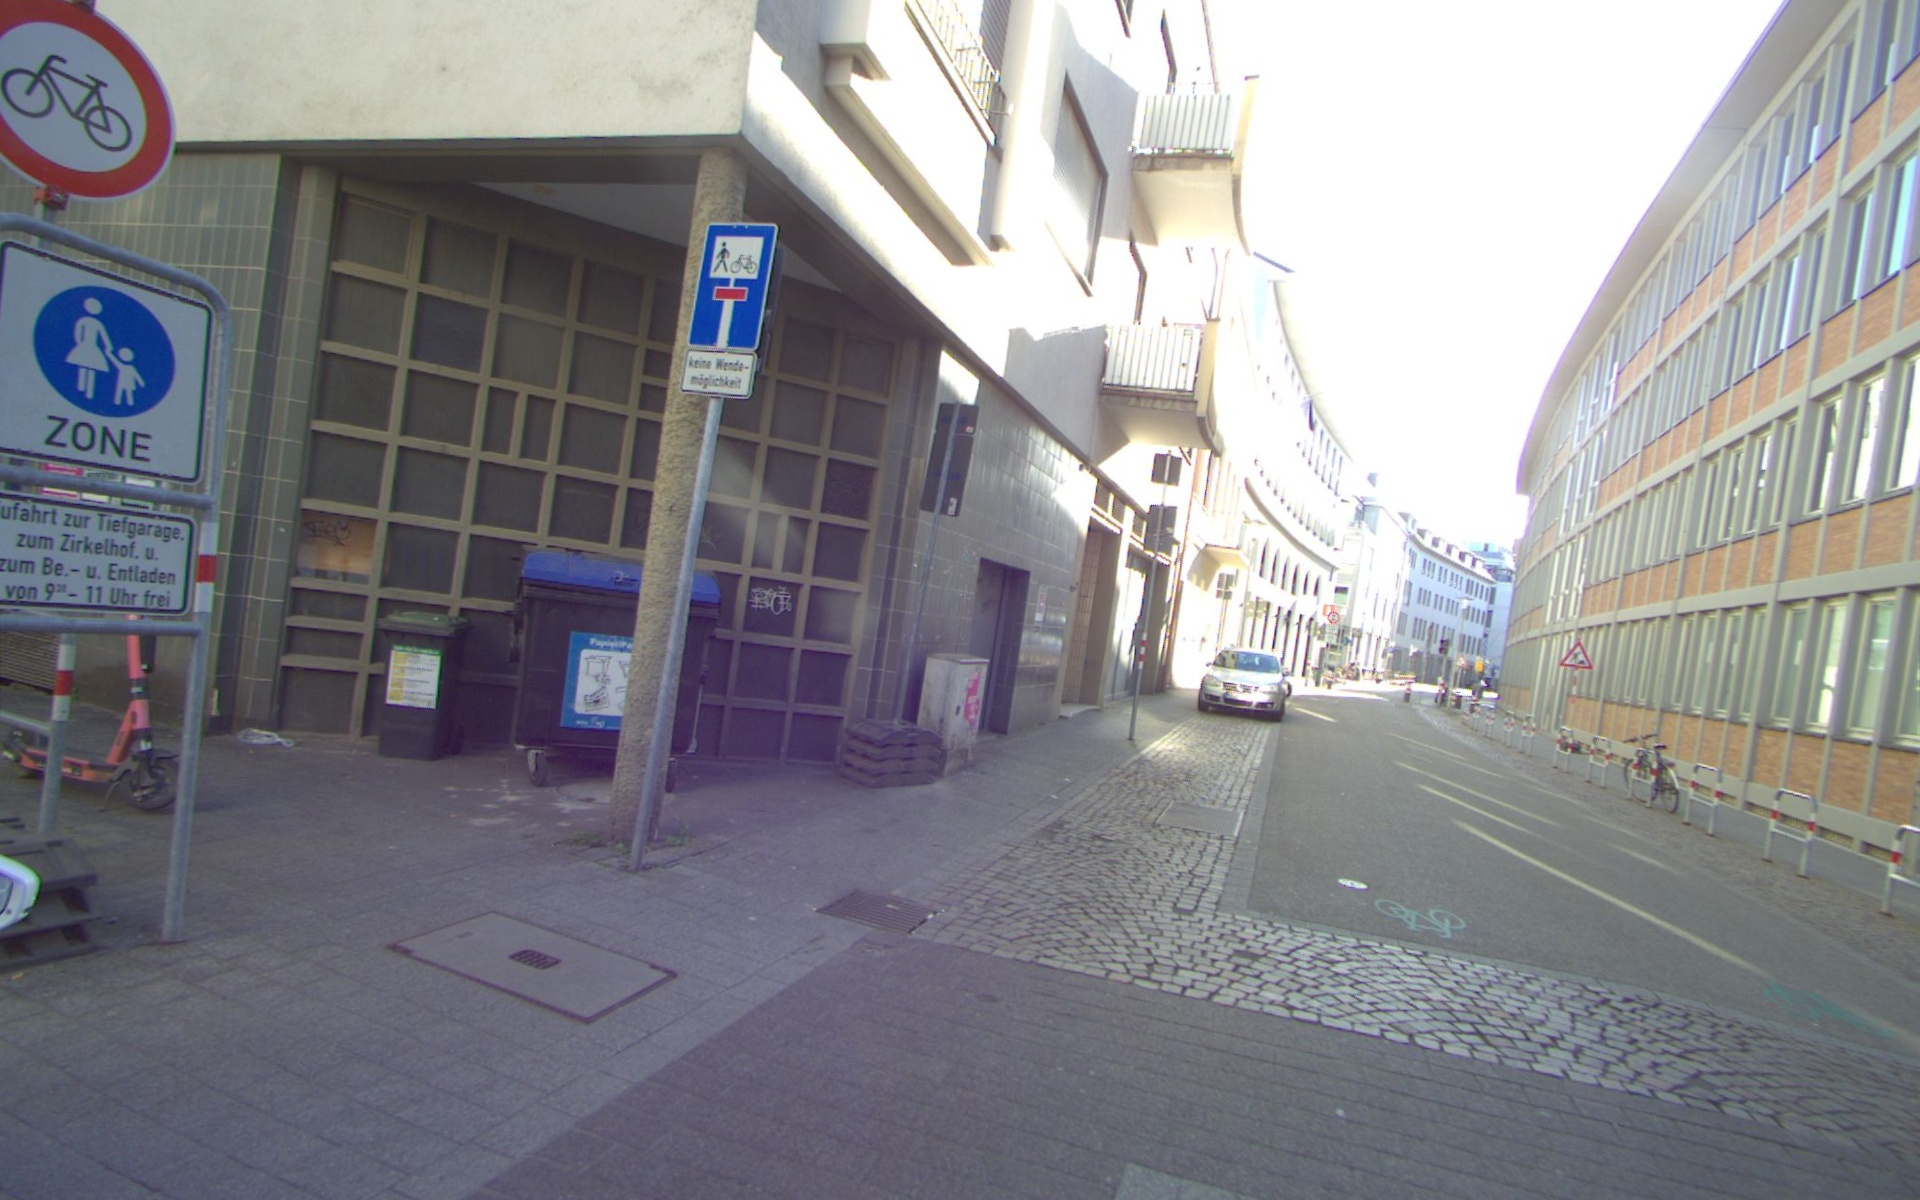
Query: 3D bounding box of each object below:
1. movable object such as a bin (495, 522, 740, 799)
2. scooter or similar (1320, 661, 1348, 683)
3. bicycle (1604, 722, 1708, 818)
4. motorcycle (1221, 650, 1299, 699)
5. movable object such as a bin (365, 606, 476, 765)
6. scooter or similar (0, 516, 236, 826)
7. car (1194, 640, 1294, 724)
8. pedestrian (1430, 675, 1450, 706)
[{"bbox_3d":[-2.351,0.380,6.812,1.276,1.609,1.147,7,2,-26],"label":"movable object such as a bin"},{"bbox_3d":[23.950,4.604,64.436,0.525,1.212,1.952,8,0,-12],"label":"scooter or similar"},{"bbox_3d":[10.517,2.537,15.279,0.626,1.130,1.931,8,0,18],"label":"bicycle"},{"bbox_3d":[9.752,2.415,32.733,2.256,1.261,0.572,7,1,40],"label":"motorcycle"},{"bbox_3d":[-3.521,0.553,6.587,0.535,0.935,0.509,7,2,-28],"label":"movable object such as a bin"},{"bbox_3d":[-4.124,0.306,4.784,1.215,1.268,0.308,8,1,16],"label":"scooter or similar"},{"bbox_3d":[6.311,1.721,22.092,1.738,1.488,3.812,6,0,19],"label":"car"},{"bbox_3d":[24.179,4.545,50.697,0.647,1.459,0.595,8,1,21],"label":"pedestrian"}]
